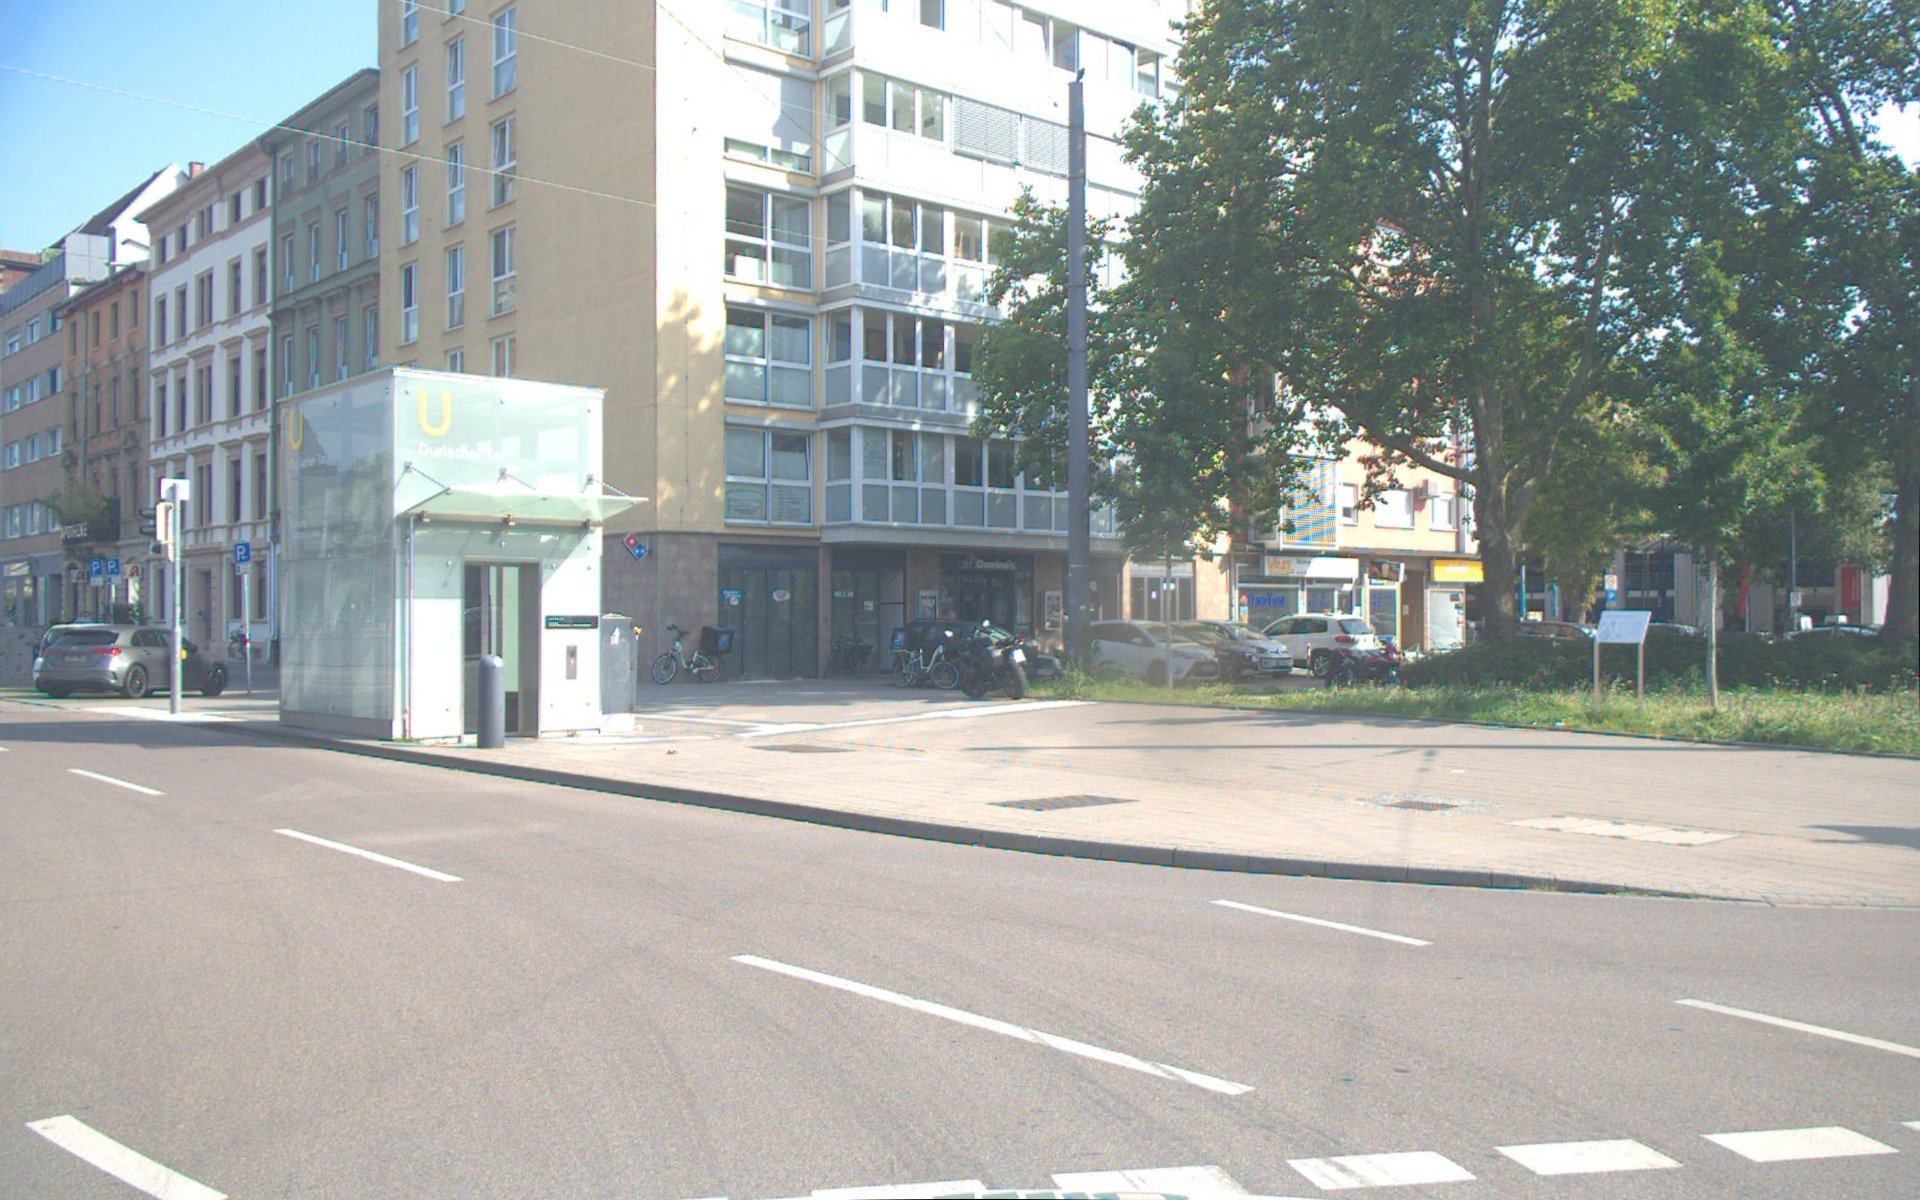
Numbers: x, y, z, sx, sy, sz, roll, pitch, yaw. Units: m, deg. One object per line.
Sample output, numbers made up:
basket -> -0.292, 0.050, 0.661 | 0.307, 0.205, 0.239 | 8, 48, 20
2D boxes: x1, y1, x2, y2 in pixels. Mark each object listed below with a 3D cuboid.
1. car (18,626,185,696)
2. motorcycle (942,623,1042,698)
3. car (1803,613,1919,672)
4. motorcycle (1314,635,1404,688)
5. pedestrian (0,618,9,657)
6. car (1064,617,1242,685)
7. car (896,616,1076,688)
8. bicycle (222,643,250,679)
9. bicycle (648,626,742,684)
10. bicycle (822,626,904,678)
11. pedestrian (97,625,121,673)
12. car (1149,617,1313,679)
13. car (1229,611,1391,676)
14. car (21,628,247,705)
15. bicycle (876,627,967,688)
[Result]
car -> -19.188, 1.340, 37.131 | 1.583, 1.490, 3.530 | 0, -1, 7
motorcycle -> 0.498, 0.970, 27.172 | 0.694, 1.167, 2.282 | 0, -1, -25
car -> 23.036, 1.021, 40.405 | 1.983, 1.400, 3.938 | 1, -1, -42
motorcycle -> 7.964, 1.210, 33.091 | 0.694, 1.019, 1.940 | 0, -1, -25
pedestrian -> -46.873, 1.825, 80.743 | 0.601, 1.864, 0.730 | 1, -1, -45
car -> 4.528, 1.173, 39.275 | 1.982, 1.533, 3.941 | 0, -1, -40
car -> 0.508, 1.085, 35.936 | 1.647, 1.466, 4.133 | 0, -1, -40
bicycle -> -24.235, 2.034, 55.327 | 0.381, 1.154, 1.694 | 1, -1, -41
bicycle -> -5.800, 1.191, 36.315 | 2.006, 1.227, 0.660 | 0, -1, -42
bicycle -> -2.327, 1.245, 39.950 | 2.006, 1.204, 0.660 | 0, -1, -42
pedestrian -> -30.188, 1.735, 58.668 | 0.605, 1.658, 0.726 | 1, -1, -41
car -> 7.105, 1.232, 43.604 | 1.982, 1.533, 3.941 | 0, -1, -40
car -> 9.447, 1.142, 44.834 | 1.982, 1.673, 3.941 | 0, -1, -40
car -> -16.516, 1.312, 33.356 | 1.802, 1.448, 4.412 | 0, -1, 10
bicycle -> -0.830, 1.207, 35.105 | 2.262, 1.256, 0.521 | -1, -1, 45
